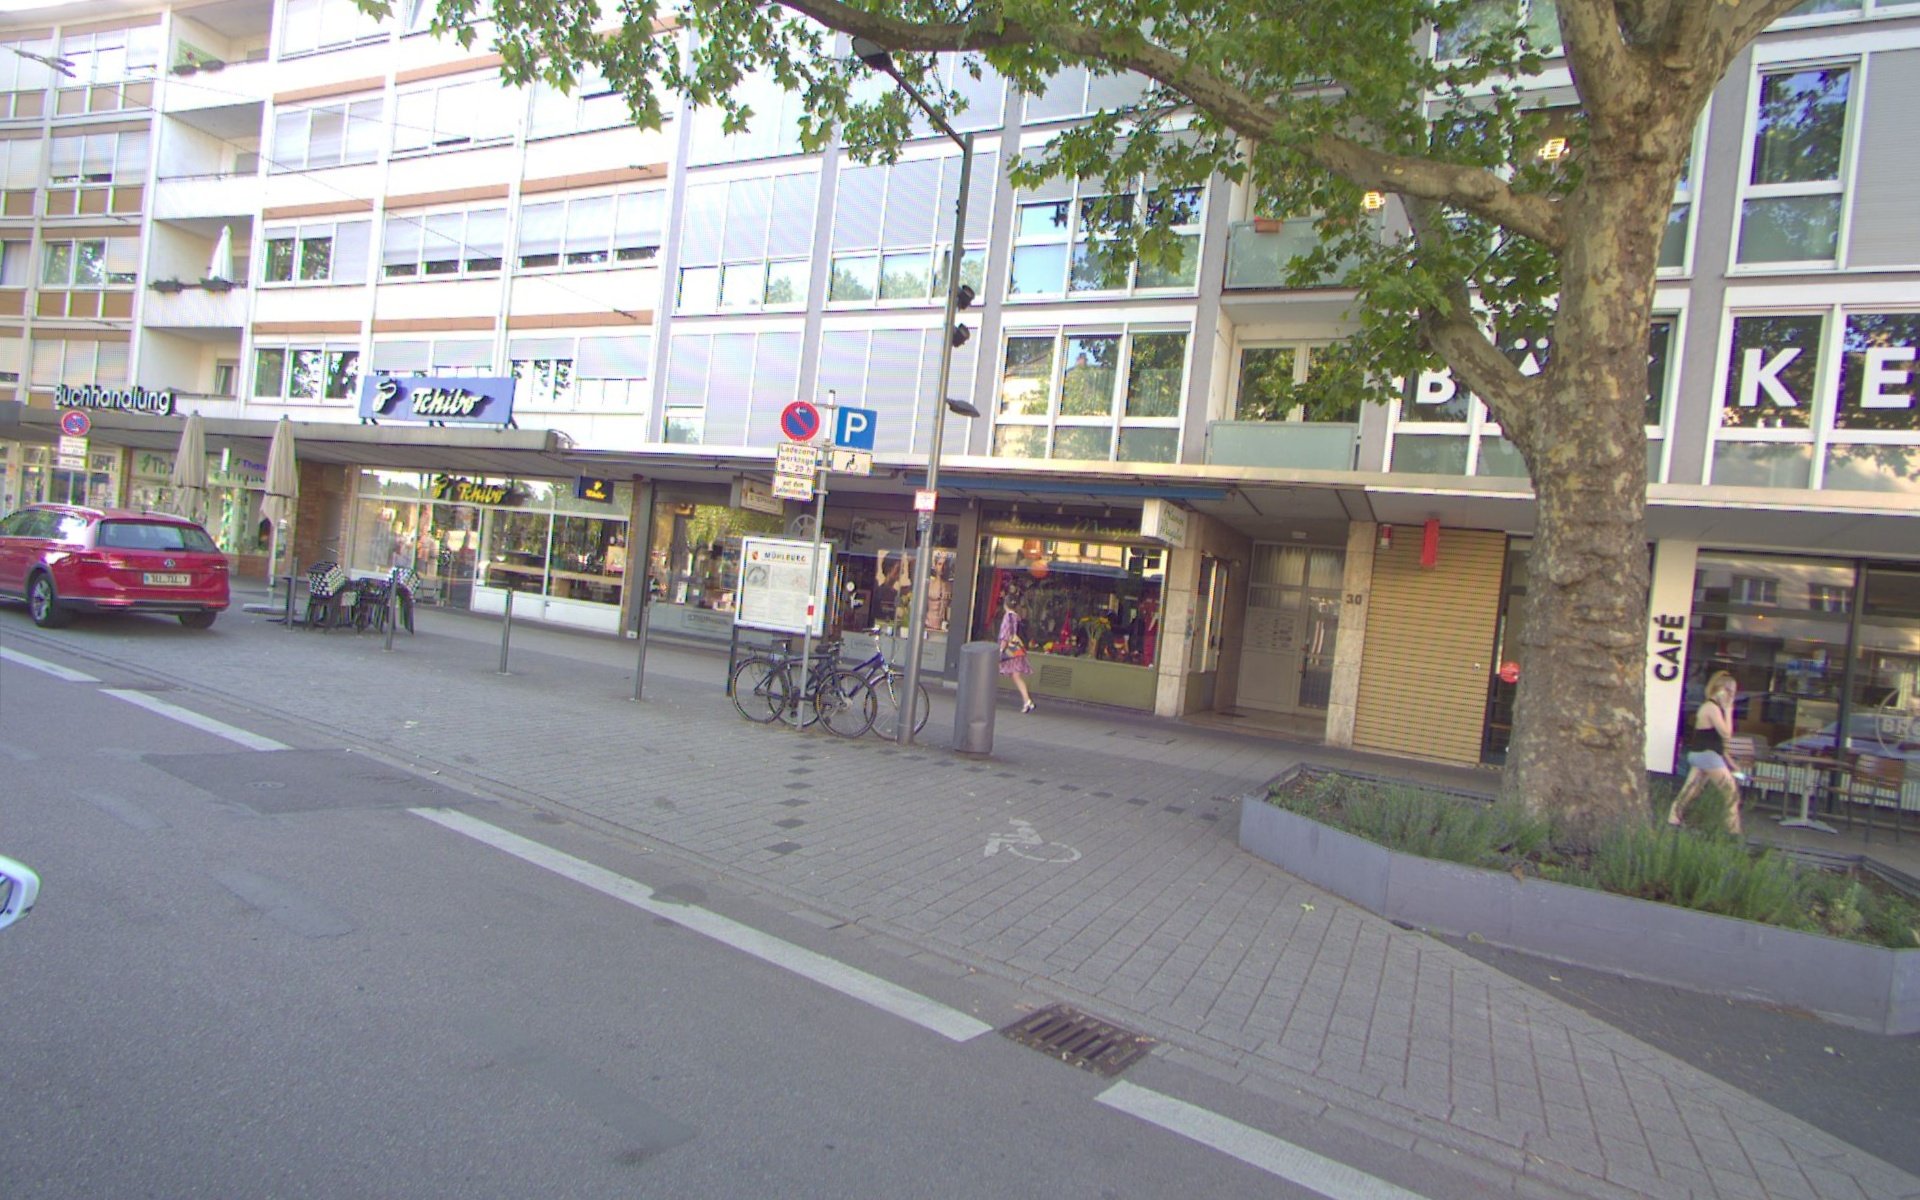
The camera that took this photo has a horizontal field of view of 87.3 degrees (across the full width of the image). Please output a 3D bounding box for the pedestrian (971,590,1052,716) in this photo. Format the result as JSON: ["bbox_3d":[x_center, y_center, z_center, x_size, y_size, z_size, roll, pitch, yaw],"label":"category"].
[{"bbox_3d":[0.712,0.717,13.852,0.776,1.613,0.651,7,2,26],"label":"pedestrian"}]

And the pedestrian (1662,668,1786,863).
[{"bbox_3d":[6.825,1.447,9.019,0.631,1.596,0.560,7,1,26],"label":"pedestrian"}]

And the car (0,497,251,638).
[{"bbox_3d":[-11.645,-0.486,13.451,4.229,1.502,1.772,6,1,28],"label":"car"}]

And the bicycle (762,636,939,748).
[{"bbox_3d":[-1.149,0.944,10.551,1.743,0.931,0.391,6,2,12],"label":"bicycle"}]

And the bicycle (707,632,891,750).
[{"bbox_3d":[-1.638,0.905,10.219,1.743,0.951,0.391,6,2,12],"label":"bicycle"}]
